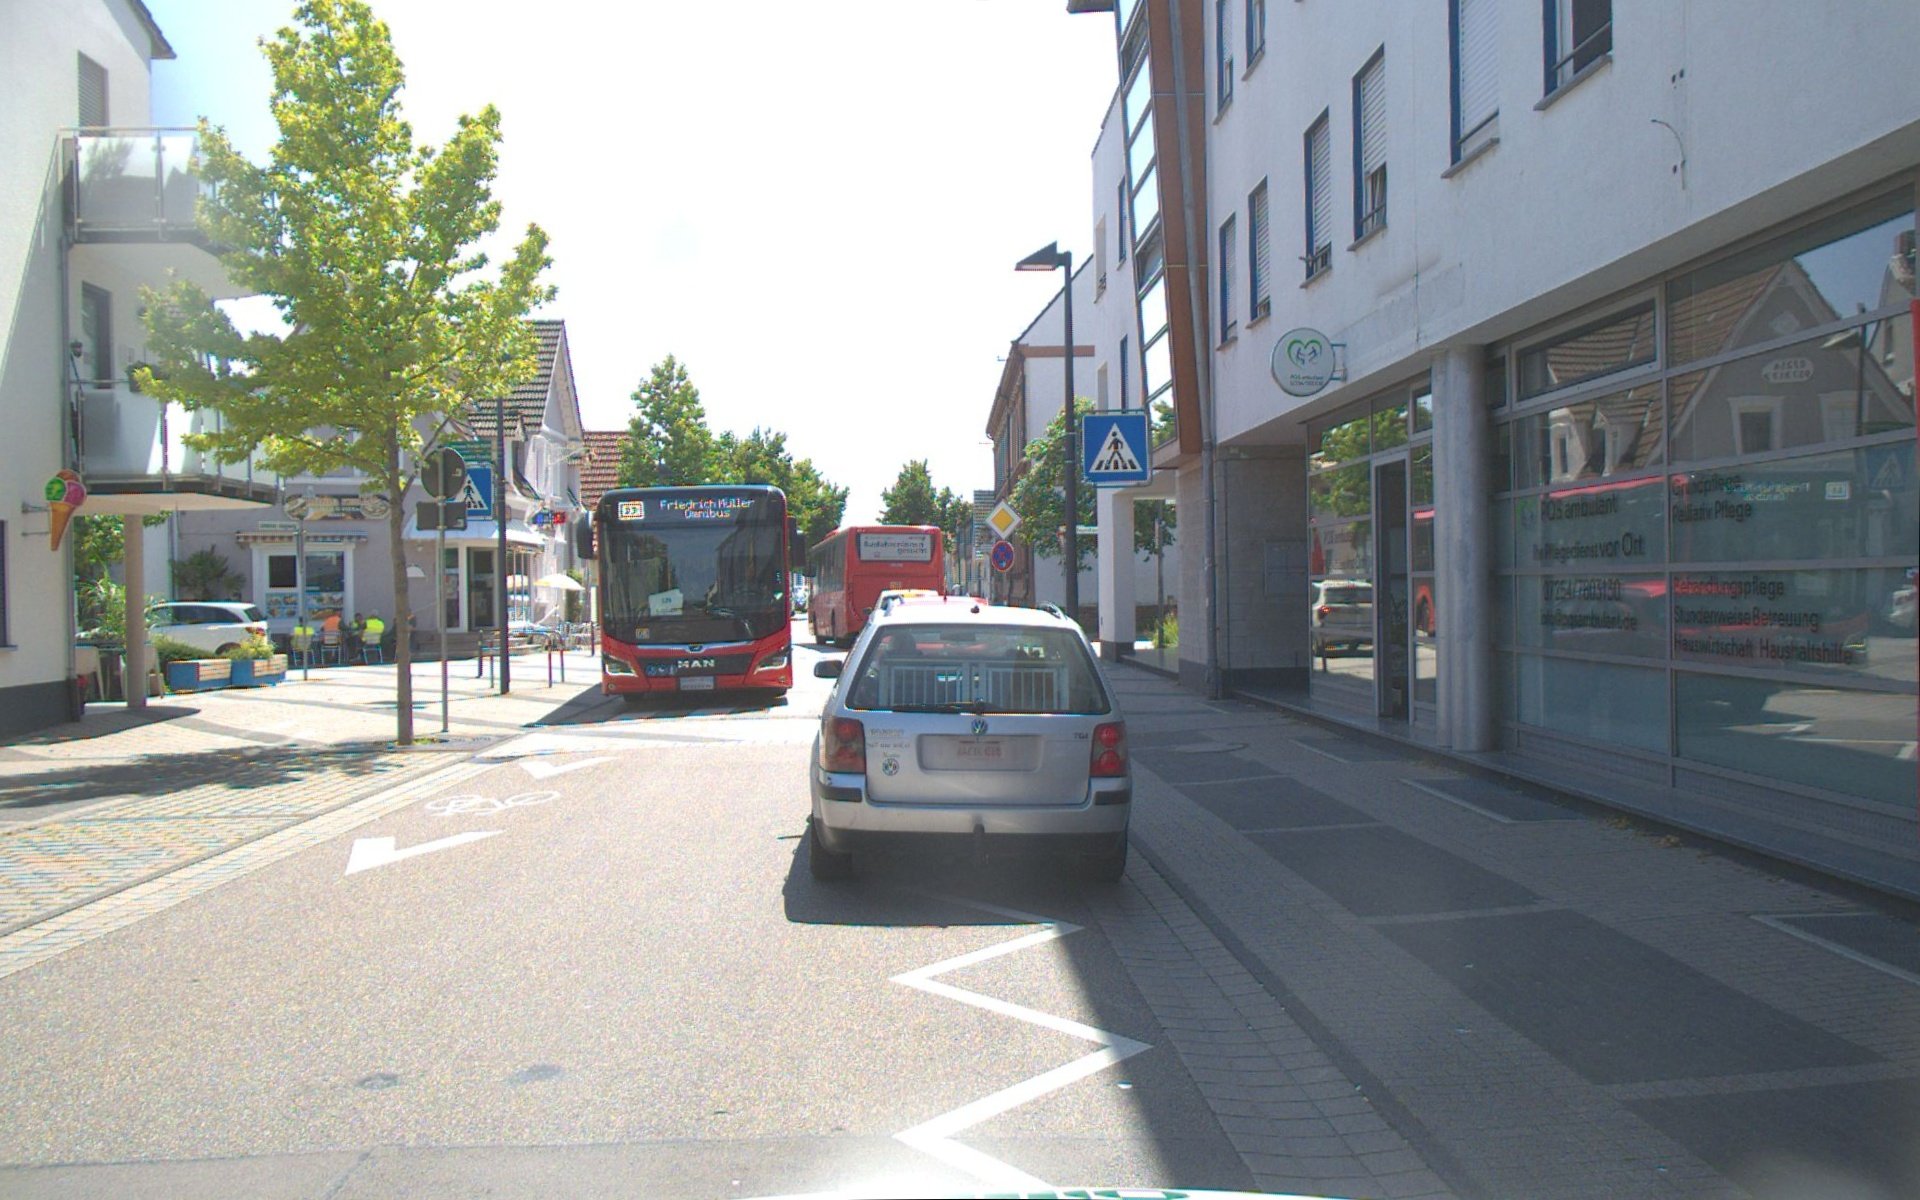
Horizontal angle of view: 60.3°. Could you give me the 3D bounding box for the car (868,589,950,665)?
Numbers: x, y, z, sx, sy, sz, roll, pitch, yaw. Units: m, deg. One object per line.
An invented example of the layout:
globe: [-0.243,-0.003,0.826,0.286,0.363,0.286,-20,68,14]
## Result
car: [-1.027,0.512,33.727,1.561,1.455,3.678,0,0,-2]

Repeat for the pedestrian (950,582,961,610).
pedestrian: [-0.256,-0.268,102.281,0.594,1.696,0.789,-1,0,-4]

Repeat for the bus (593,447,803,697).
bus: [-4.277,-0.392,30.277,2.617,3.178,17.784,-1,0,-6]

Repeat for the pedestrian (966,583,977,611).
pedestrian: [0.710,-0.197,102.535,0.594,1.696,0.789,-1,0,-4]

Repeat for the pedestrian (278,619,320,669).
pedestrian: [-15.256,1.011,38.165,0.776,1.135,0.631,1,-1,44]

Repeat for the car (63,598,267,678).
car: [-17.449,0.807,36.491,3.857,1.572,1.510,-1,2,-20]

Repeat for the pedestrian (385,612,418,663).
pedestrian: [-13.514,0.895,40.050,0.610,1.199,0.695,-1,0,-7]

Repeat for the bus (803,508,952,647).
bus: [-2.583,-0.545,46.567,2.690,3.356,12.675,0,0,-10]

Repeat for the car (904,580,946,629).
car: [-1.620,0.183,74.866,1.752,2.118,3.624,-1,0,-3]

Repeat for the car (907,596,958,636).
car: [-1.019,0.553,59.579,1.685,1.332,3.624,-1,0,-3]

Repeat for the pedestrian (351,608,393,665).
pedestrian: [-13.869,0.854,39.026,0.776,1.311,0.631,1,-1,44]

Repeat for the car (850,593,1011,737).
car: [-0.383,0.662,18.961,1.643,1.455,3.677,-1,0,-3]

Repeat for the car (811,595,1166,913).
car: [0.062,0.725,9.636,1.643,1.455,3.677,2,0,-3]

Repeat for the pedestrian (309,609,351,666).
pedestrian: [-14.887,0.891,39.091,0.776,1.311,0.631,1,-1,44]

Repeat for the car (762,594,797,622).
car: [-10.543,0.438,96.889,1.775,1.586,3.998,-1,0,-3]
